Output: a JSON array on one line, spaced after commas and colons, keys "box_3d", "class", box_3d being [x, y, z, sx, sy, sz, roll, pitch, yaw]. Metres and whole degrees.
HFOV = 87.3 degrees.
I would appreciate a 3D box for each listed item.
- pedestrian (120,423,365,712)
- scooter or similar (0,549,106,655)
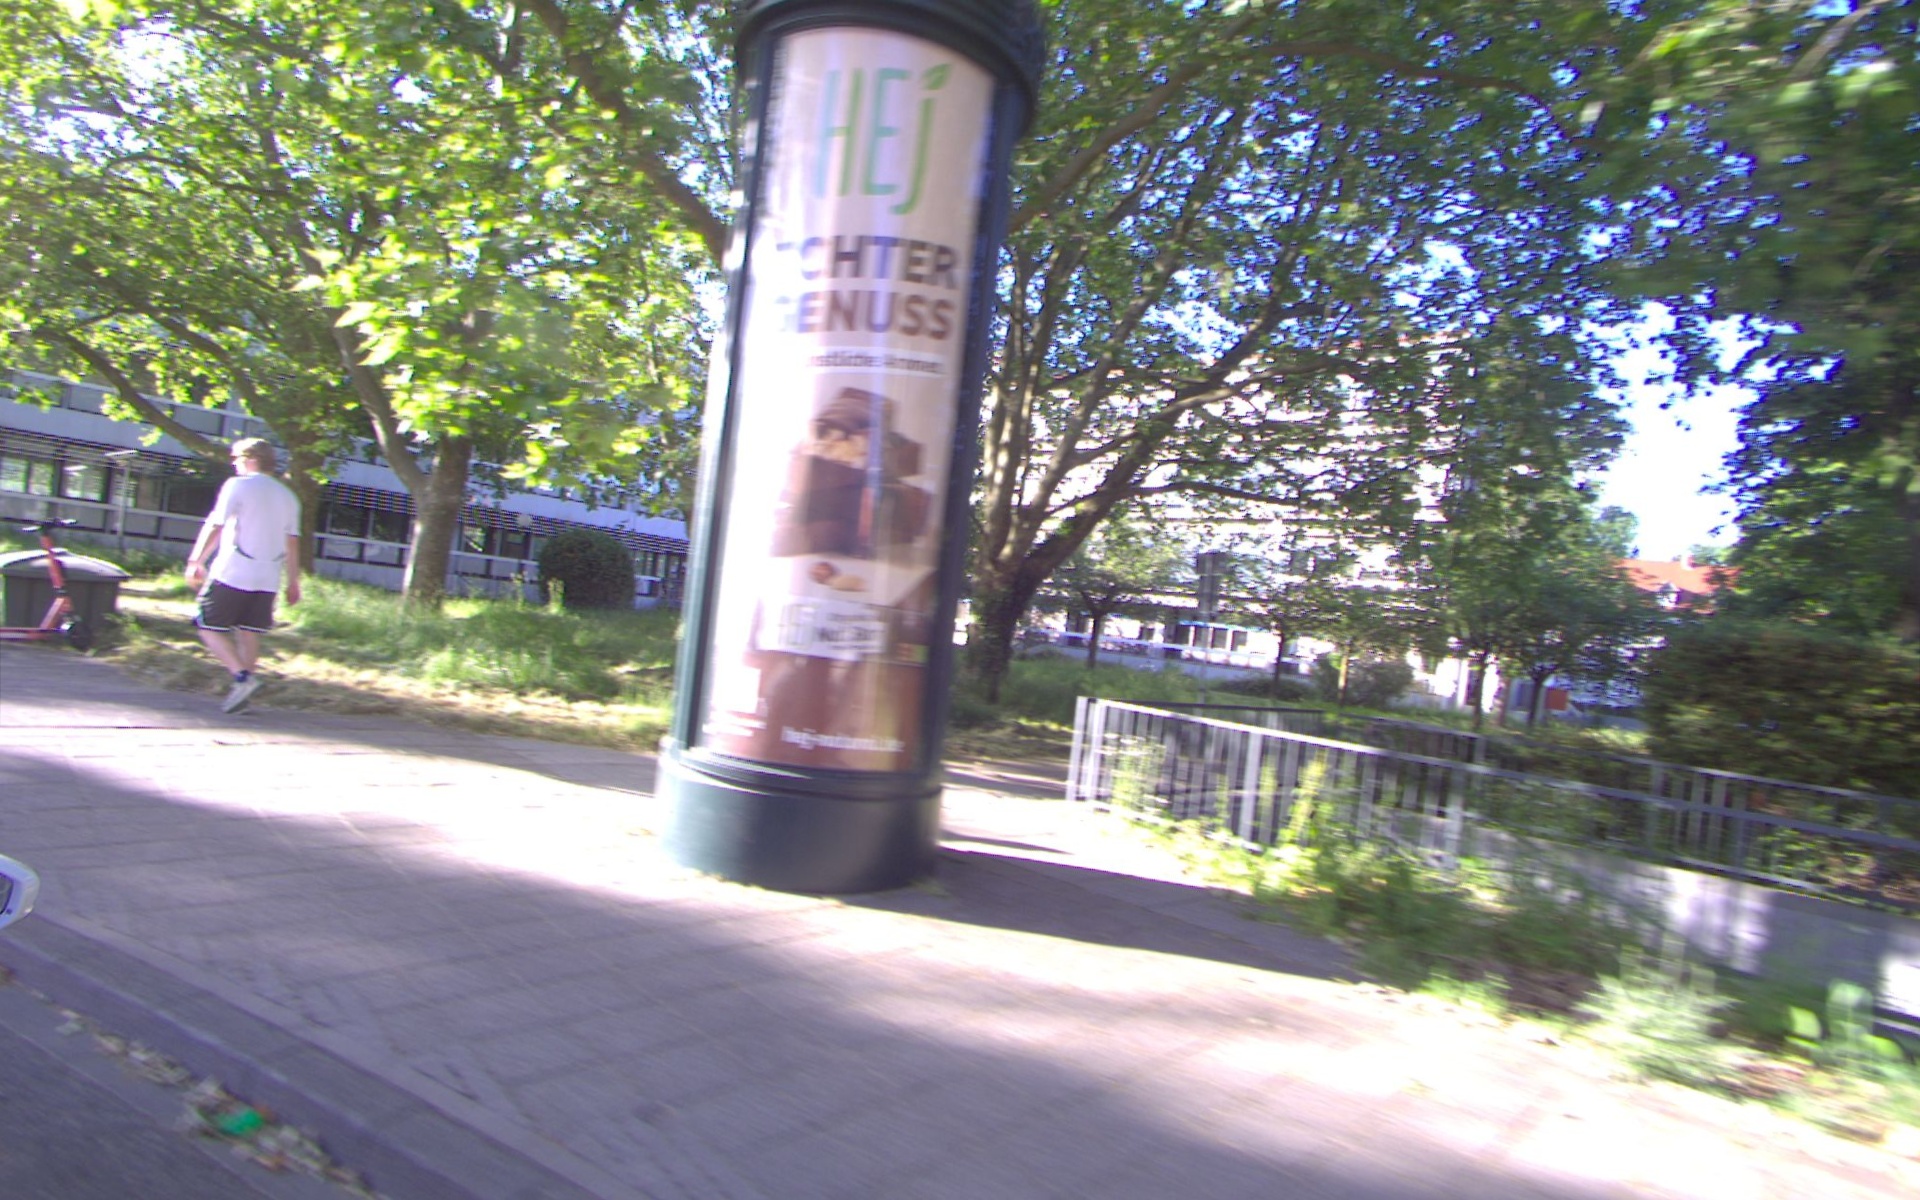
[{"box_3d": [-5.011, -0.216, 7.042, 1.113, 1.833, 0.747, 7, -2, 25], "class": "pedestrian"}, {"box_3d": [-8.659, 0.010, 9.237, 0.413, 0.925, 1.146, 5, 0, 37], "class": "scooter or similar"}]
